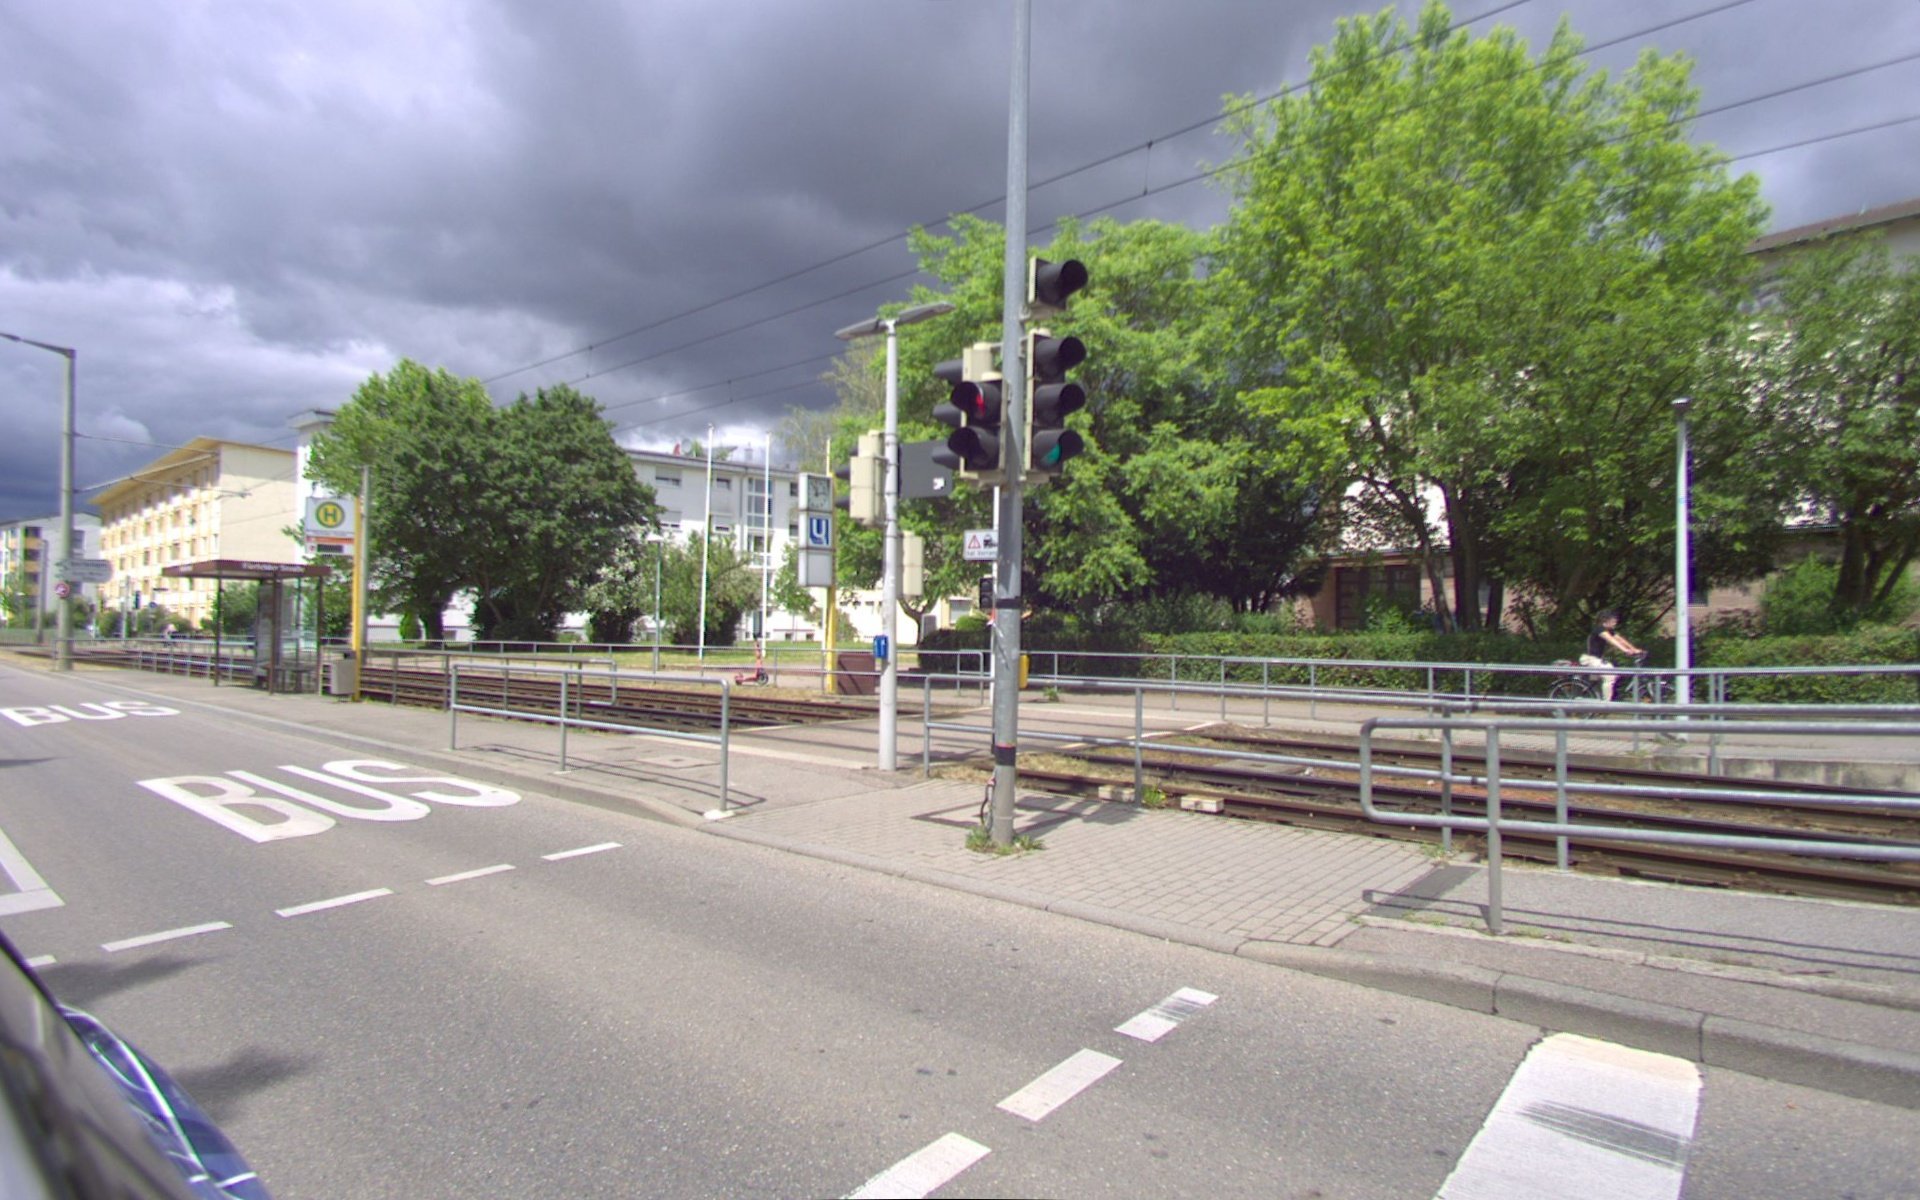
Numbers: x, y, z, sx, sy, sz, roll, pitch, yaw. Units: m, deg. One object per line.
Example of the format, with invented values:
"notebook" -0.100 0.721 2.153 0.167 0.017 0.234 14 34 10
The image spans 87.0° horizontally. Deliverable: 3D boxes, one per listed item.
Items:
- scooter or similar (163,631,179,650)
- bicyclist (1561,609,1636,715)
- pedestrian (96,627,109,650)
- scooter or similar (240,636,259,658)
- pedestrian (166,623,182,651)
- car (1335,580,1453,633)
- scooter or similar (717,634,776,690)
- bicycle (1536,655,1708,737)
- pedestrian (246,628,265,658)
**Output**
"scooter or similar" -48.774 2.516 62.569 0.891 1.172 0.602 -1 -2 41
"bicyclist" 9.003 0.852 14.275 0.790 1.440 0.626 -1 -1 41
"pedestrian" -60.944 2.748 71.927 0.773 1.619 0.598 -1 -1 40
"scooter or similar" -37.043 2.451 52.793 0.820 1.123 0.598 -1 -2 39
"pedestrian" -48.180 2.273 62.067 0.679 1.705 0.638 -1 -2 41
"car" 17.700 0.325 41.403 1.967 2.029 4.009 2 -2 -36
"scooter or similar" -5.033 1.449 23.827 1.400 1.246 0.642 -2 -2 42
"bicycle" 9.217 1.306 14.137 1.927 1.001 0.631 -1 -1 41
"pedestrian" -36.383 2.220 52.253 0.873 1.552 0.606 -1 -2 40
